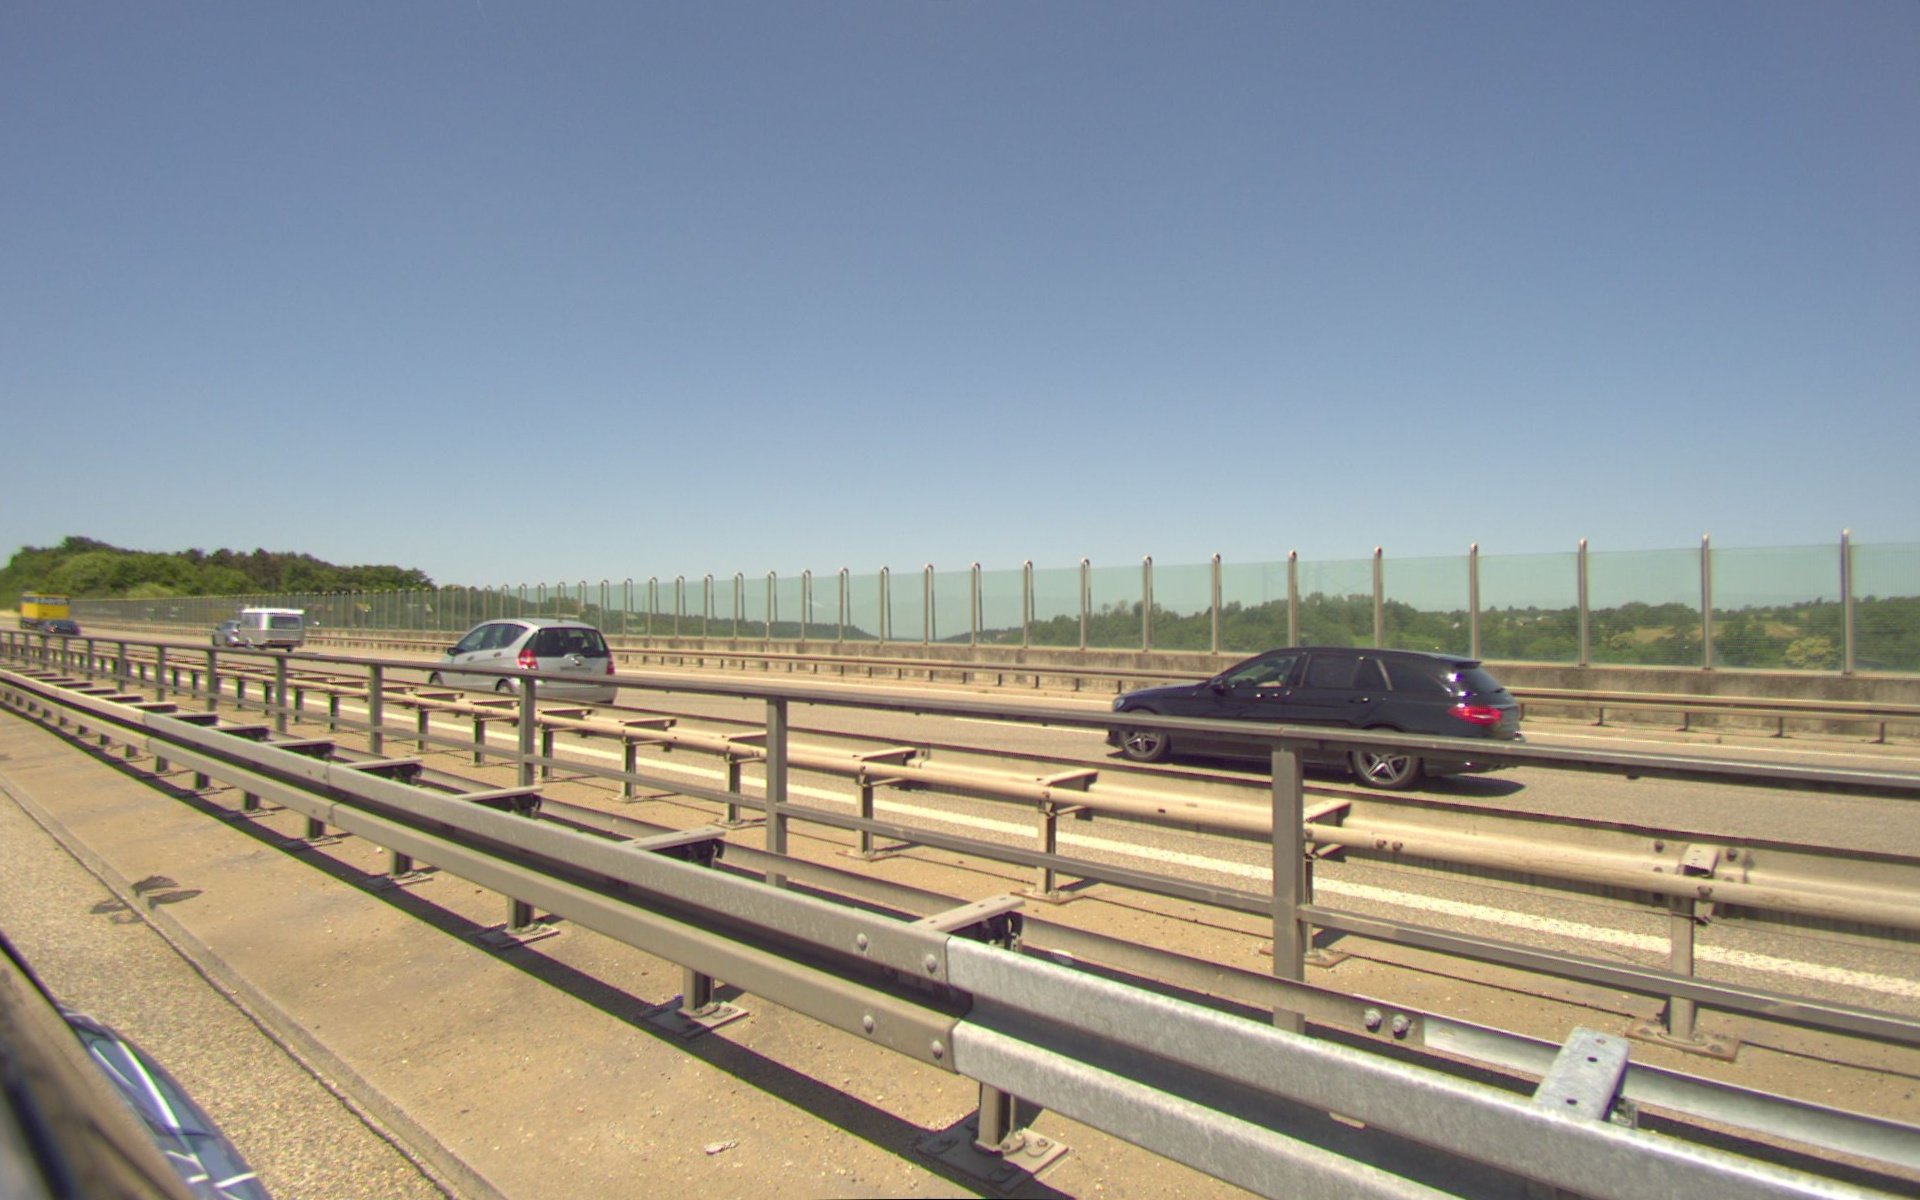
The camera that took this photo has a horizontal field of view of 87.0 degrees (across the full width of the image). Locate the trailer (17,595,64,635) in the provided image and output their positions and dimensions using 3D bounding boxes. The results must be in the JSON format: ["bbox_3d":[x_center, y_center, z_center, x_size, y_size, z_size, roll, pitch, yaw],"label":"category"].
[{"bbox_3d":[-100.535,1.695,110.510,13.798,4.094,2.397,-1,-3,42],"label":"trailer"}]

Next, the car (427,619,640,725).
[{"bbox_3d":[-7.025,1.093,16.563,3.556,1.541,1.821,-1,-2,41],"label":"car"}]

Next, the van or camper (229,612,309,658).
[{"bbox_3d":[-36.025,1.807,52.698,5.533,2.228,1.973,0,-3,41],"label":"van or camper"}]

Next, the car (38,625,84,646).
[{"bbox_3d":[-63.439,2.475,71.367,4.673,1.408,1.836,-1,-3,41],"label":"car"}]

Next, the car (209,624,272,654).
[{"bbox_3d":[-39.735,2.141,55.878,4.198,1.557,1.837,0,-3,41],"label":"car"}]

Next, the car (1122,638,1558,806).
[{"bbox_3d":[4.122,1.199,11.390,4.261,1.396,1.782,0,0,41],"label":"car"}]
